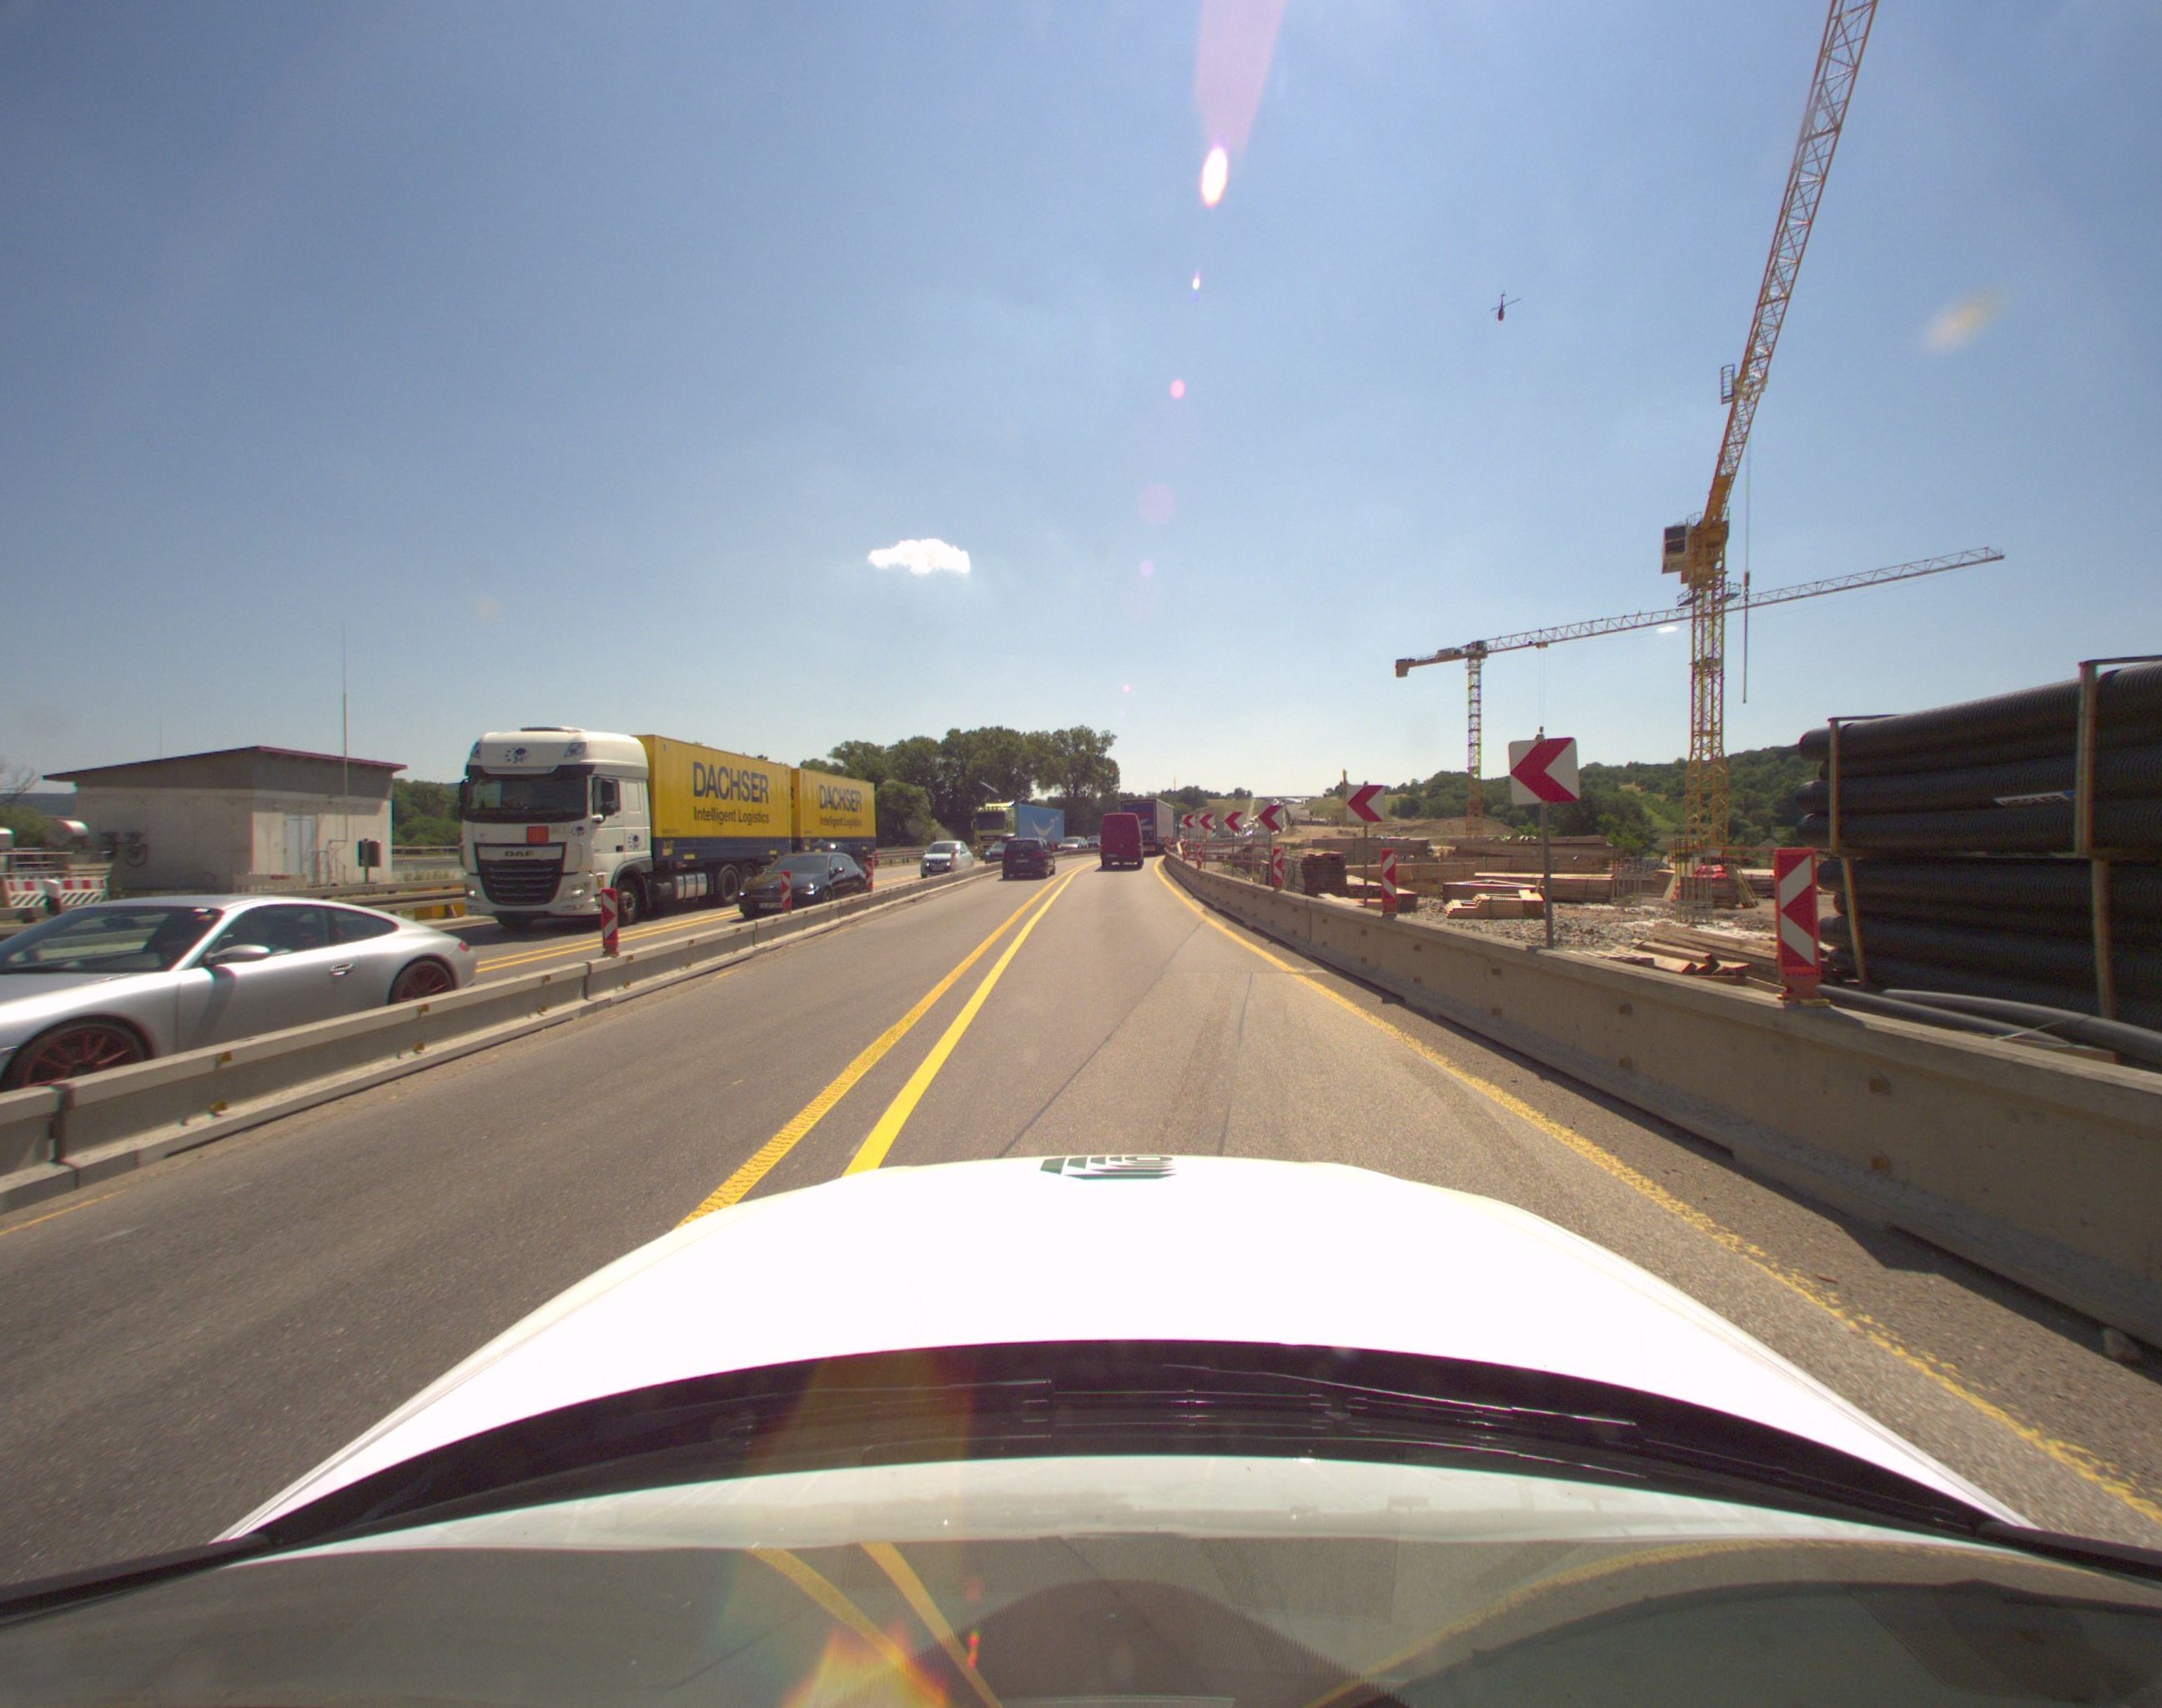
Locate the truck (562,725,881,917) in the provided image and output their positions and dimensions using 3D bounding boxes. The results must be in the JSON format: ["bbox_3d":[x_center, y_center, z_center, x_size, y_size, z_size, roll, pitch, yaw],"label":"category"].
[{"bbox_3d":[-10.039,-0.823,26.135,2.795,4.342,15.385,0,1,2],"label":"truck"}]

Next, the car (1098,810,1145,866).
[{"bbox_3d":[1.981,-0.744,40.502,2.141,2.611,5.441,0,0,2],"label":"car"}]

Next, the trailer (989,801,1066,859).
[{"bbox_3d":[-4.094,-1.818,66.895,2.629,4.292,13.355,1,1,13],"label":"trailer"}]

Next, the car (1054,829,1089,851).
[{"bbox_3d":[-0.720,-1.111,66.070,1.808,1.585,4.316,0,-1,13],"label":"car"}]

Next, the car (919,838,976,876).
[{"bbox_3d":[-5.730,0.082,35.449,1.630,1.485,4.004,0,2,2],"label":"car"}]

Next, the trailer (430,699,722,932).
[{"bbox_3d":[-10.406,-0.719,17.532,2.855,4.229,5.220,-1,0,1],"label":"trailer"}]

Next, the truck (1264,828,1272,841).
[{"bbox_3d":[58.719,-5.993,255.290,2.275,3.739,6.504,-1,-3,13],"label":"truck"}]

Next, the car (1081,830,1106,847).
[{"bbox_3d":[1.255,-1.484,79.401,1.870,1.647,4.726,0,1,8],"label":"car"}]

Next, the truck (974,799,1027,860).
[{"bbox_3d":[-5.786,-1.734,59.220,2.608,4.270,4.746,1,0,11],"label":"truck"}]

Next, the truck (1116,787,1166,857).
[{"bbox_3d":[4.614,-2.315,61.061,2.926,4.945,6.762,-1,1,11],"label":"truck"}]

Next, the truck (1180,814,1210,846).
[{"bbox_3d":[14.825,-3.062,105.506,3.159,3.989,6.767,-1,1,13],"label":"truck"}]

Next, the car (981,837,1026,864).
[{"bbox_3d":[-4.425,-0.217,47.383,1.812,1.435,4.590,0,2,5],"label":"car"}]

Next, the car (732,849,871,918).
[{"bbox_3d":[-6.391,0.598,19.158,1.671,1.362,4.503,0,1,0],"label":"car"}]

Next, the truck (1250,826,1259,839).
[{"bbox_3d":[44.929,-5.630,210.959,2.276,3.196,6.505,-1,1,12],"label":"truck"}]

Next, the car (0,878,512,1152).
[{"bbox_3d":[-6.518,0.911,5.923,1.671,1.264,4.336,0,1,0],"label":"car"}]

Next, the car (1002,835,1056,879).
[{"bbox_3d":[-2.077,0.071,33.674,1.726,1.635,4.394,0,2,3],"label":"car"}]

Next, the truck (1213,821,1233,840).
[{"bbox_3d":[27.428,-4.531,157.097,3.161,2.977,8.929,-1,-3,13],"label":"truck"}]
